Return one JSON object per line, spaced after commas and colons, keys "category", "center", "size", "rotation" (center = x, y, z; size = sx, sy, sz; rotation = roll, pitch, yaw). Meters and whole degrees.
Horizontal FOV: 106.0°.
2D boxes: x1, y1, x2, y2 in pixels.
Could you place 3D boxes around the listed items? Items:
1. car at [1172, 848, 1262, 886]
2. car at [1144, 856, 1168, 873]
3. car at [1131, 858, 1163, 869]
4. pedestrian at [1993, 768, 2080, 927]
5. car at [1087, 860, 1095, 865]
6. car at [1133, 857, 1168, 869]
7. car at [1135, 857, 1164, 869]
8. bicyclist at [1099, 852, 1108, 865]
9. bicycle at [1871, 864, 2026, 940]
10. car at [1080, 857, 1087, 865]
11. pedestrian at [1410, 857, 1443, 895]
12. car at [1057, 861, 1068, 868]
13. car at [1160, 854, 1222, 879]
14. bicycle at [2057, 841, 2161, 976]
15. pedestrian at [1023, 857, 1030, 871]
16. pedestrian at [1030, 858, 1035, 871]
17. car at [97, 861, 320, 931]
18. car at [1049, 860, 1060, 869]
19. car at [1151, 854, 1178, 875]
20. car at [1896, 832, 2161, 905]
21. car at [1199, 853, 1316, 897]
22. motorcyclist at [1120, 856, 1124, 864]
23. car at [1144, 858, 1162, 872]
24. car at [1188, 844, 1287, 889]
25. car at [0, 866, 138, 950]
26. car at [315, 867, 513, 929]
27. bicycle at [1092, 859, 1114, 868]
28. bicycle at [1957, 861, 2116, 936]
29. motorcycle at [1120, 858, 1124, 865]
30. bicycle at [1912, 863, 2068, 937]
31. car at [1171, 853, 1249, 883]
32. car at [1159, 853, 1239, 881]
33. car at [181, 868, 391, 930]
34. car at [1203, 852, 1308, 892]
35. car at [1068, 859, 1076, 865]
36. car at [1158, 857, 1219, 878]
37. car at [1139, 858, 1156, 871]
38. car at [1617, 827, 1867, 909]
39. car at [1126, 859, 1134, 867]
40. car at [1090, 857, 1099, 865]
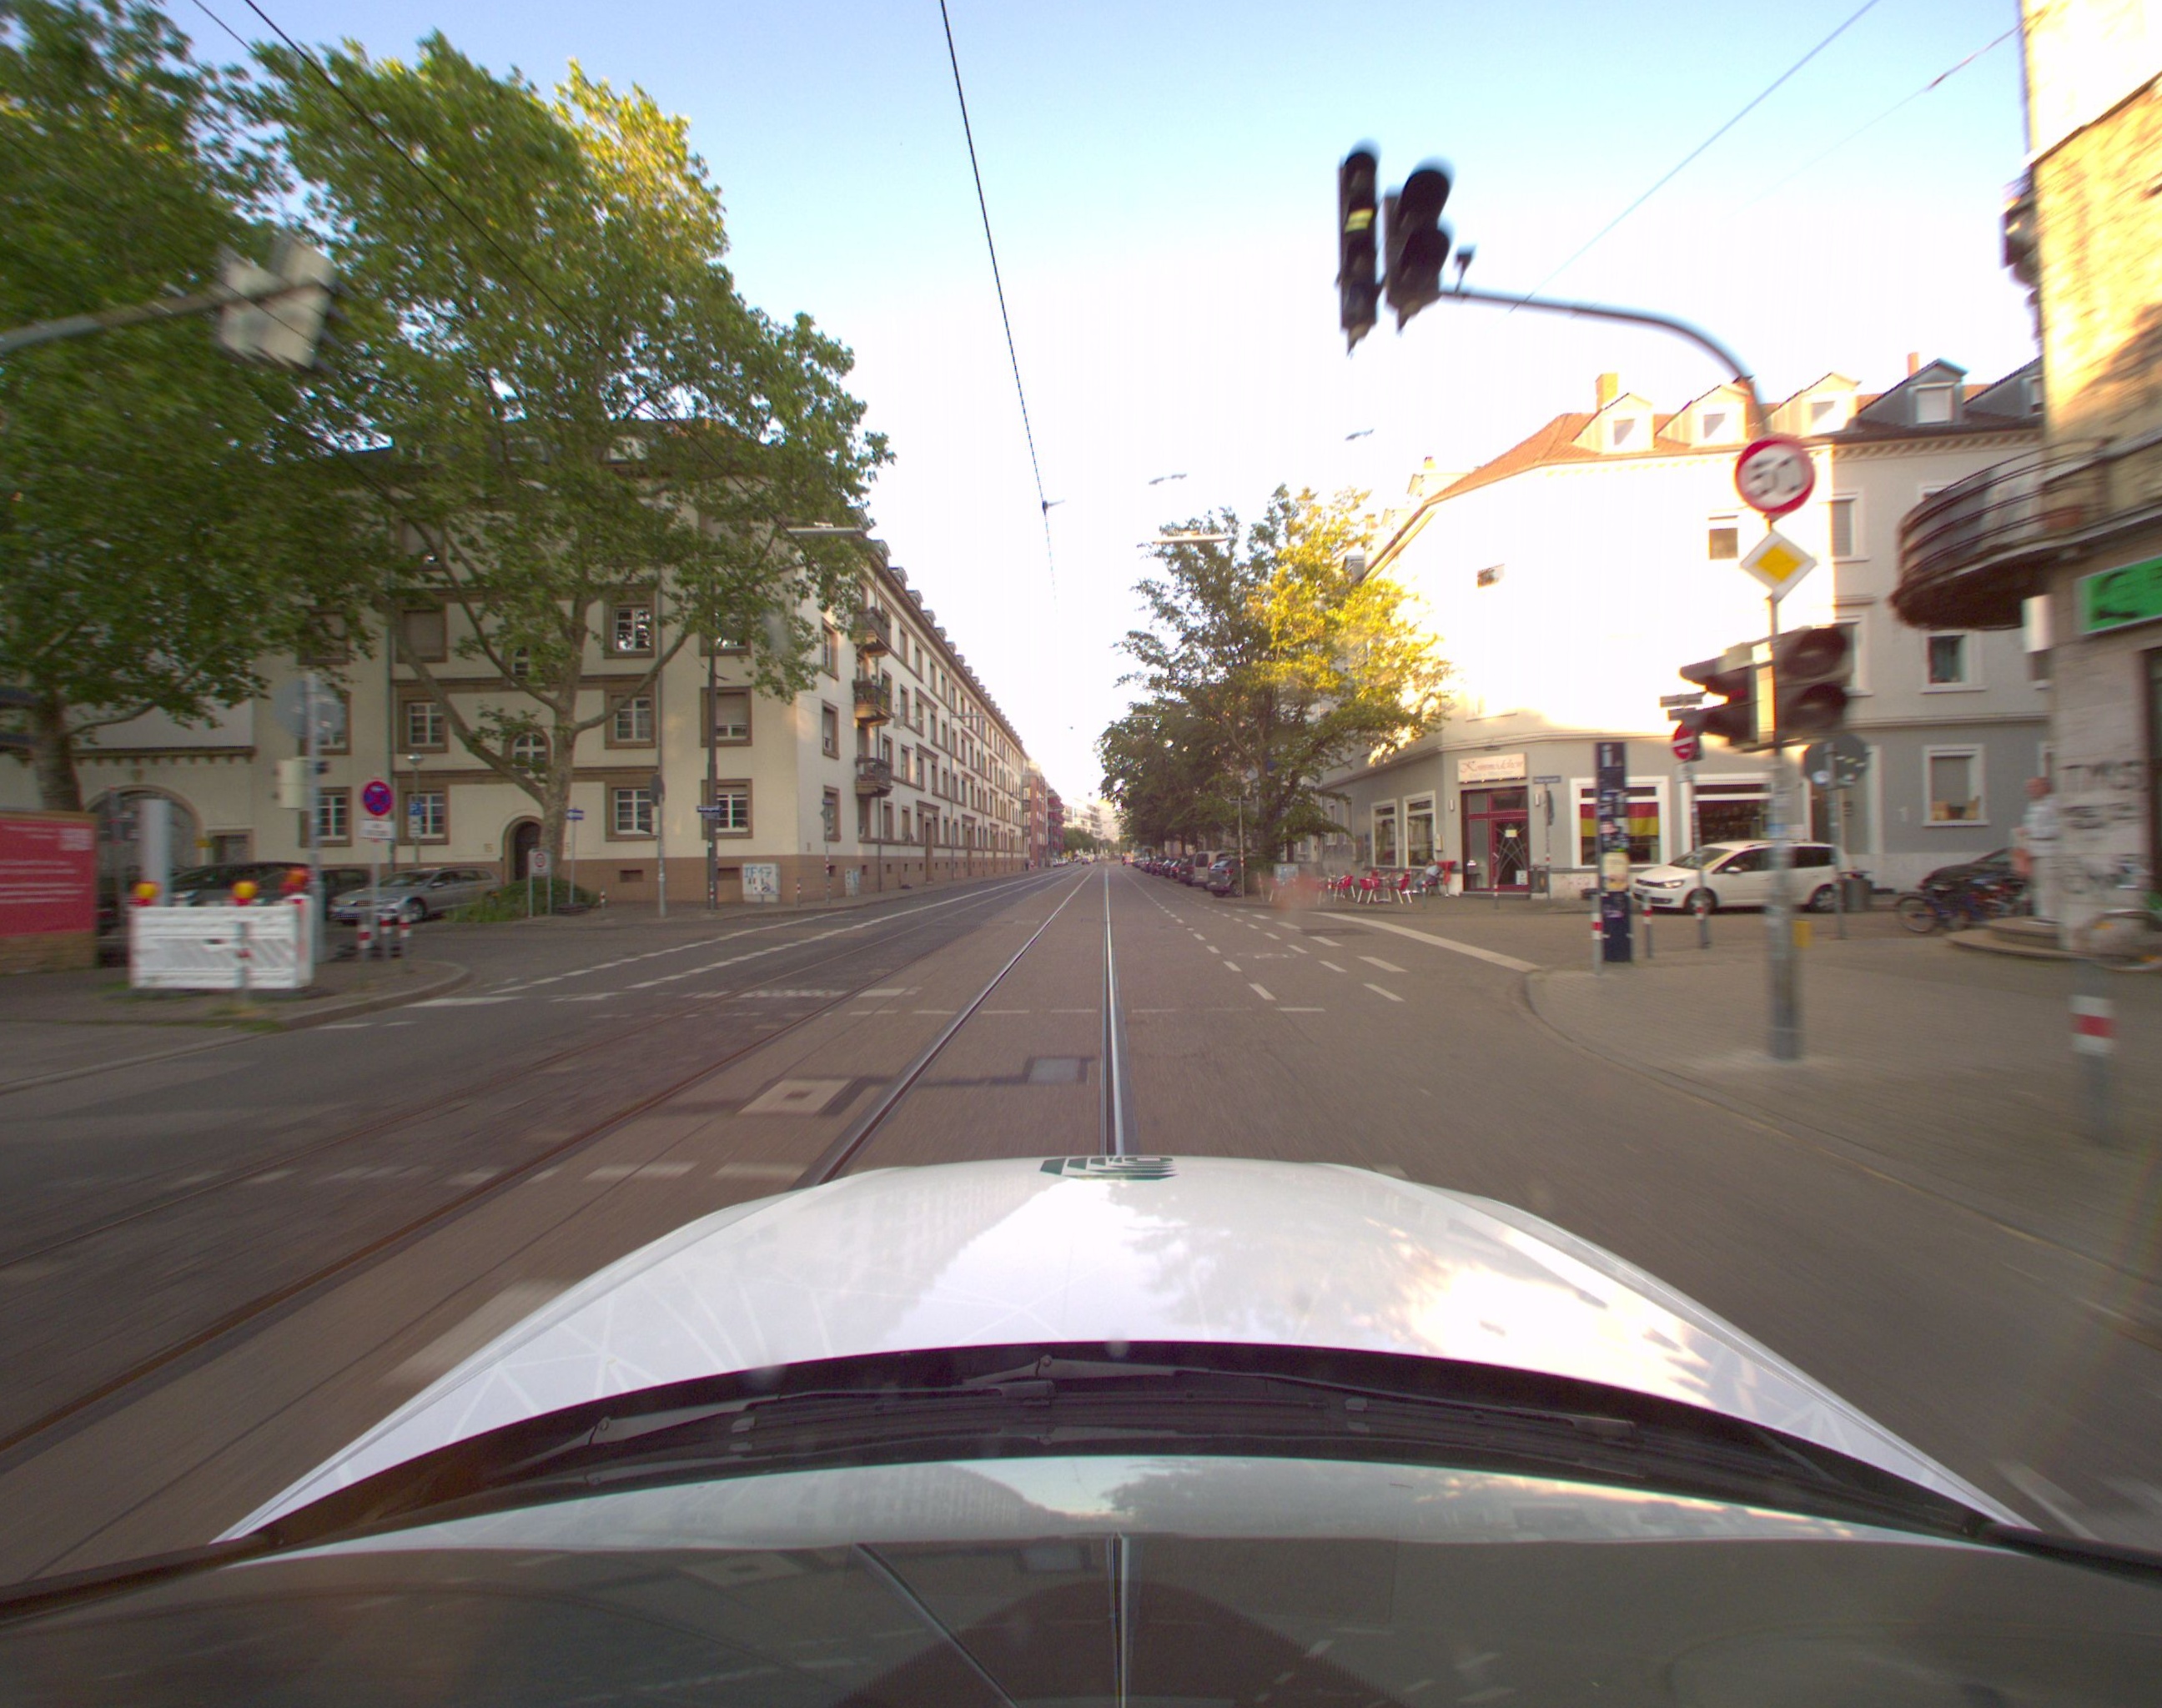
{"category": "car", "center": [6.989, 0.650, 41.868], "size": [4.192, 1.696, 1.835], "rotation": [-2, 0, -20]}
{"category": "car", "center": [7.230, 0.985, 78.844], "size": [1.986, 1.489, 5.038], "rotation": [-2, -1, 2]}
{"category": "car", "center": [10.007, 1.410, 123.310], "size": [4.625, 1.457, 1.697], "rotation": [-3, 0, -23]}
{"category": "pedestrian", "center": [11.435, -0.085, 9.765], "size": [0.553, 1.832, 0.616], "rotation": [-1, 2, 38]}
{"category": "car", "center": [3.090, 2.514, 249.166], "size": [1.673, 1.439, 4.136], "rotation": [-1, 0, 9]}
{"category": "car", "center": [9.990, 1.305, 117.345], "size": [4.461, 1.516, 2.048], "rotation": [-2, 0, -22]}
{"category": "car", "center": [9.468, 1.273, 112.174], "size": [3.571, 1.516, 1.730], "rotation": [-2, 0, -24]}
{"category": "bicyclist", "center": [3.430, 0.714, 126.329], "size": [1.213, 2.013, 0.945], "rotation": [-1, 0, -7]}
{"category": "bicycle", "center": [14.571, 0.768, 13.765], "size": [0.655, 1.099, 1.889], "rotation": [-1, 2, 1]}
{"category": "car", "center": [0.550, 1.497, 175.339], "size": [1.554, 1.558, 3.753], "rotation": [-2, 0, -1]}
{"category": "pedestrian", "center": [10.753, 0.680, 25.339], "size": [0.652, 1.155, 0.686], "rotation": [-1, -1, -22]}
{"category": "car", "center": [-3.793, 2.072, 166.625], "size": [1.684, 1.414, 4.682], "rotation": [1, -1, 4]}
{"category": "car", "center": [7.715, 0.858, 57.166], "size": [3.970, 1.553, 1.710], "rotation": [-2, 1, -16]}
{"category": "bicycle", "center": [9.957, 0.487, 7.298], "size": [0.521, 1.210, 1.586], "rotation": [-1, 0, 2]}
{"category": "pedestrian", "center": [-6.818, 1.258, 102.084], "size": [0.793, 1.701, 0.981], "rotation": [-1, -1, -1]}
{"category": "pedestrian", "center": [-6.114, 1.297, 101.962], "size": [0.589, 1.609, 0.811], "rotation": [-1, -1, -1]}
{"category": "car", "center": [-24.386, 1.097, 23.023], "size": [1.746, 1.613, 4.096], "rotation": [-1, 2, 2]}
{"category": "car", "center": [-4.697, 1.927, 146.434], "size": [1.710, 1.556, 4.206], "rotation": [0, -1, 2]}
{"category": "car", "center": [7.042, 0.861, 69.328], "size": [1.873, 1.618, 4.263], "rotation": [-4, 0, 1]}
{"category": "car", "center": [21.586, 0.376, 18.499], "size": [4.030, 1.577, 1.909], "rotation": [0, -4, 4]}
{"category": "car", "center": [6.718, 0.783, 31.019], "size": [3.998, 1.540, 1.768], "rotation": [-1, 0, -18]}
{"category": "motorcyclist", "center": [7.608, 1.082, 150.796], "size": [0.825, 1.473, 1.208], "rotation": [-1, -1, 2]}
{"category": "car", "center": [7.614, 1.155, 86.473], "size": [1.772, 1.381, 4.696], "rotation": [-3, -1, 4]}
{"category": "car", "center": [7.035, 0.547, 36.664], "size": [4.000, 1.816, 1.812], "rotation": [-3, 0, -20]}
{"category": "car", "center": [-20.425, 0.970, 15.022], "size": [4.063, 1.360, 1.760], "rotation": [-1, 2, 2]}
{"category": "car", "center": [-18.627, 1.165, 23.063], "size": [1.746, 1.360, 4.478], "rotation": [-1, 2, 2]}
{"category": "bicycle", "center": [3.419, 1.444, 126.325], "size": [3.167, 1.354, 0.955], "rotation": [-2, -1, -7]}
{"category": "bicycle", "center": [16.034, 0.714, 13.746], "size": [0.506, 1.099, 1.889], "rotation": [-1, 2, 2]}
{"category": "motorcycle", "center": [7.614, 1.370, 150.770], "size": [0.825, 1.240, 2.493], "rotation": [-1, 0, 3]}
{"category": "bicycle", "center": [15.449, 0.748, 13.921], "size": [0.605, 1.099, 1.889], "rotation": [-1, 2, 1]}
{"category": "car", "center": [7.262, 0.779, 45.912], "size": [3.996, 1.464, 1.710], "rotation": [-2, 0, -16]}
{"category": "car", "center": [6.954, 0.757, 48.100], "size": [4.386, 1.464, 1.710], "rotation": [-2, 0, -16]}
{"category": "car", "center": [-22.147, 1.189, 22.964], "size": [1.746, 1.360, 4.096], "rotation": [-1, 2, 2]}
{"category": "car", "center": [7.315, 0.735, 34.103], "size": [4.000, 1.566, 1.708], "rotation": [-1, 0, -20]}
{"category": "car", "center": [-2.739, 2.487, 250.952], "size": [1.672, 1.700, 4.252], "rotation": [-1, 0, 11]}
{"category": "car", "center": [7.942, 0.985, 60.060], "size": [4.269, 1.388, 1.607], "rotation": [-1, -1, -24]}
{"category": "car", "center": [7.519, 1.221, 92.053], "size": [1.613, 1.381, 3.777], "rotation": [-3, -1, 2]}
{"category": "car", "center": [15.661, 0.329, 19.519], "size": [4.299, 1.841, 1.910], "rotation": [0, -1, 7]}
{"category": "car", "center": [10.033, 1.822, 166.918], "size": [1.709, 1.555, 4.207], "rotation": [0, 0, 3]}
{"category": "car", "center": [4.191, 2.094, 254.880], "size": [2.449, 2.482, 5.817], "rotation": [-1, 0, 5]}
